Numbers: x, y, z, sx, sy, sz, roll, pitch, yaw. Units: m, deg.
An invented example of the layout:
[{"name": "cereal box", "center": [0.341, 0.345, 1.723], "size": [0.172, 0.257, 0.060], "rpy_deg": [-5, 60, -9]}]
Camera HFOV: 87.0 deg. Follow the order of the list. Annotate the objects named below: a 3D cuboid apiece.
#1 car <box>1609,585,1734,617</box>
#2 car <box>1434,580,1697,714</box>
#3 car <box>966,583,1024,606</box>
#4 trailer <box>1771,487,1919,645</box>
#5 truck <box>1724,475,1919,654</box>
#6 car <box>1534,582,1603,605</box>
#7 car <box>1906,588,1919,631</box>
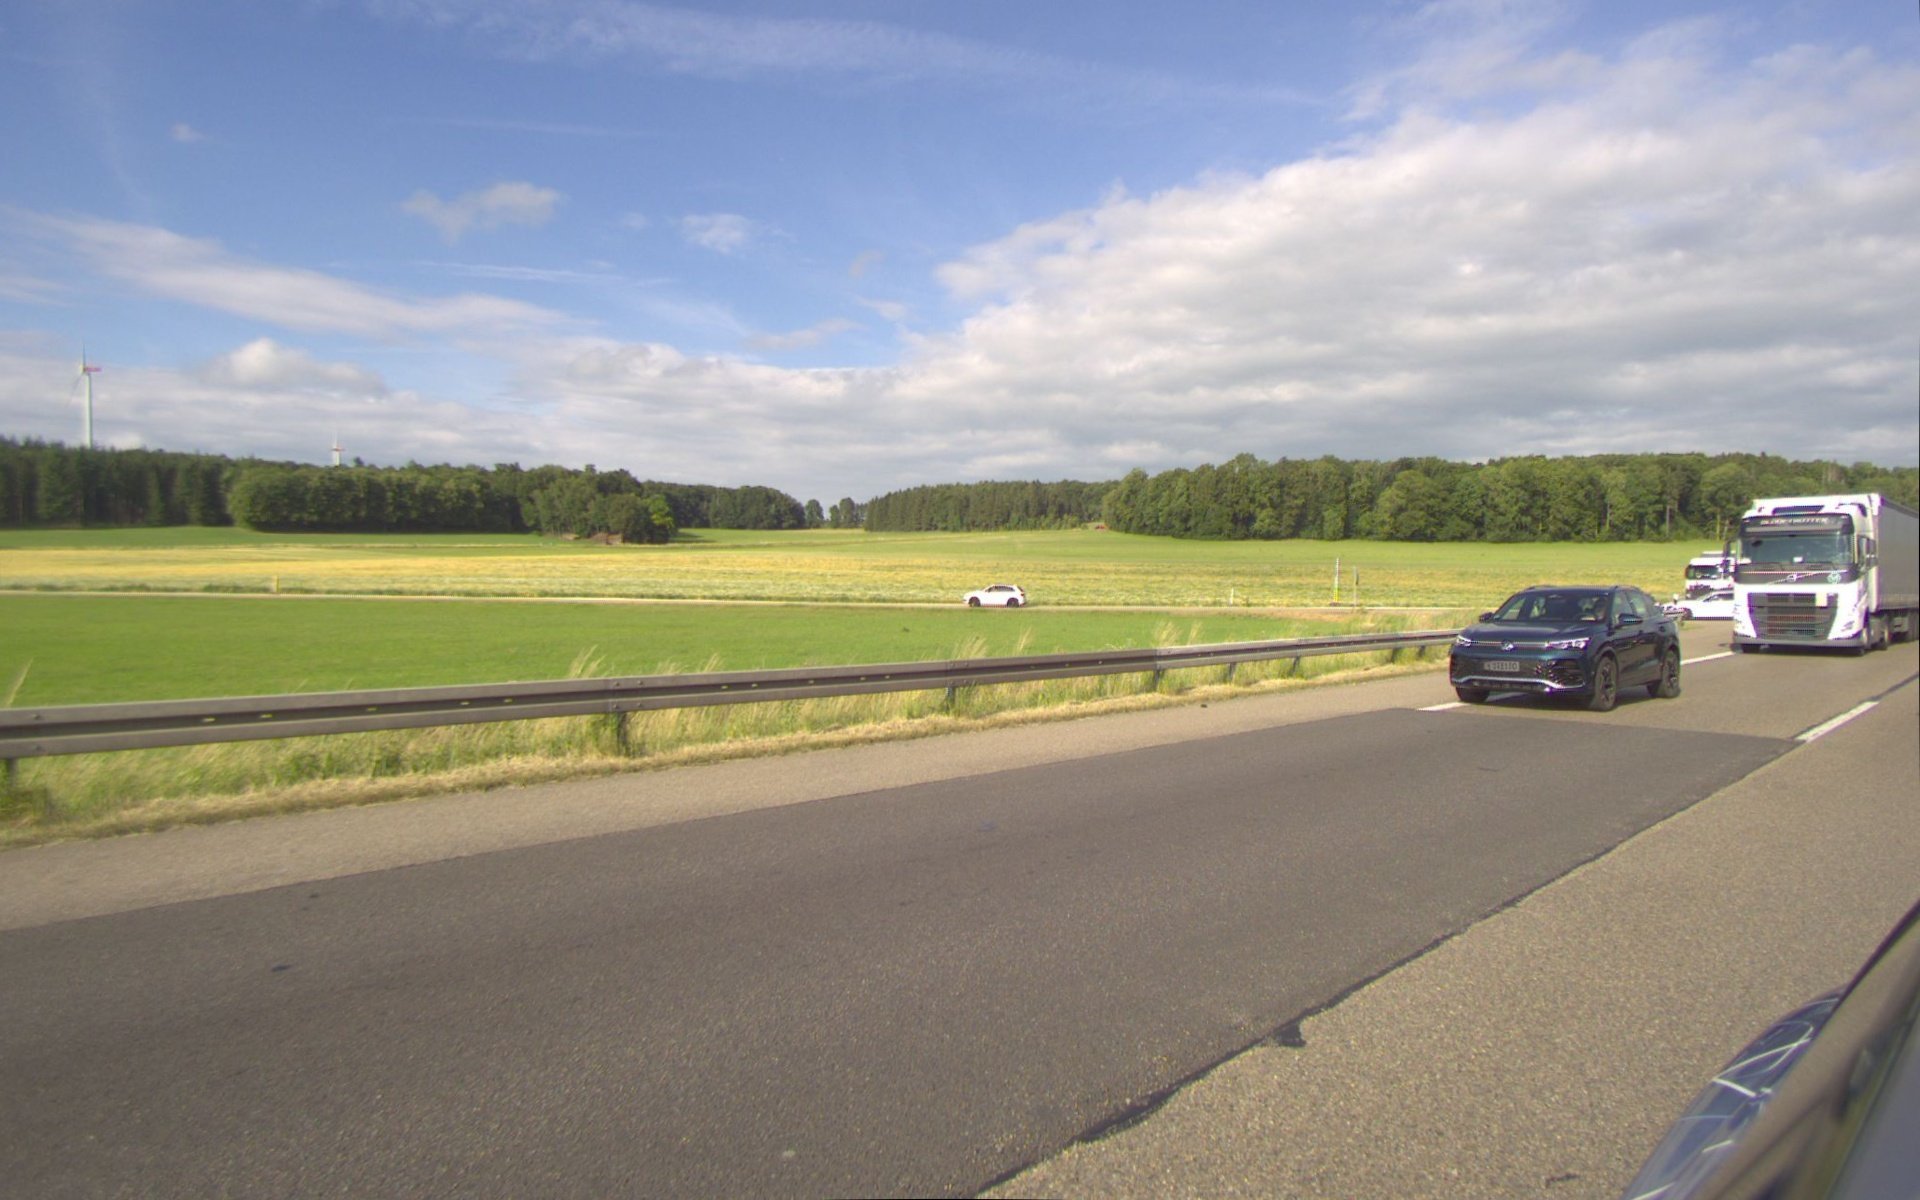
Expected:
[{"name": "car", "center": [36.690, 0.048, 52.361], "size": [5.034, 1.565, 1.980], "rpy_deg": [0, 0, 28]}, {"name": "car", "center": [8.615, 0.539, 14.282], "size": [4.046, 1.616, 1.997], "rpy_deg": [-1, 1, -40]}, {"name": "car", "center": [2.529, -0.400, 72.140], "size": [3.935, 1.638, 1.995], "rpy_deg": [0, 0, 10]}, {"name": "trailer", "center": [27.984, -0.947, 30.868], "size": [11.914, 4.032, 2.824], "rpy_deg": [-1, 0, -40]}, {"name": "truck", "center": [22.262, -0.855, 26.012], "size": [6.386, 4.040, 2.840], "rpy_deg": [-1, 0, -40]}, {"name": "car", "center": [40.289, -0.431, 67.120], "size": [3.505, 1.549, 1.719], "rpy_deg": [0, 0, 11]}, {"name": "car", "center": [39.457, 0.347, 40.467], "size": [3.930, 1.678, 1.997], "rpy_deg": [-1, 1, -41]}]
